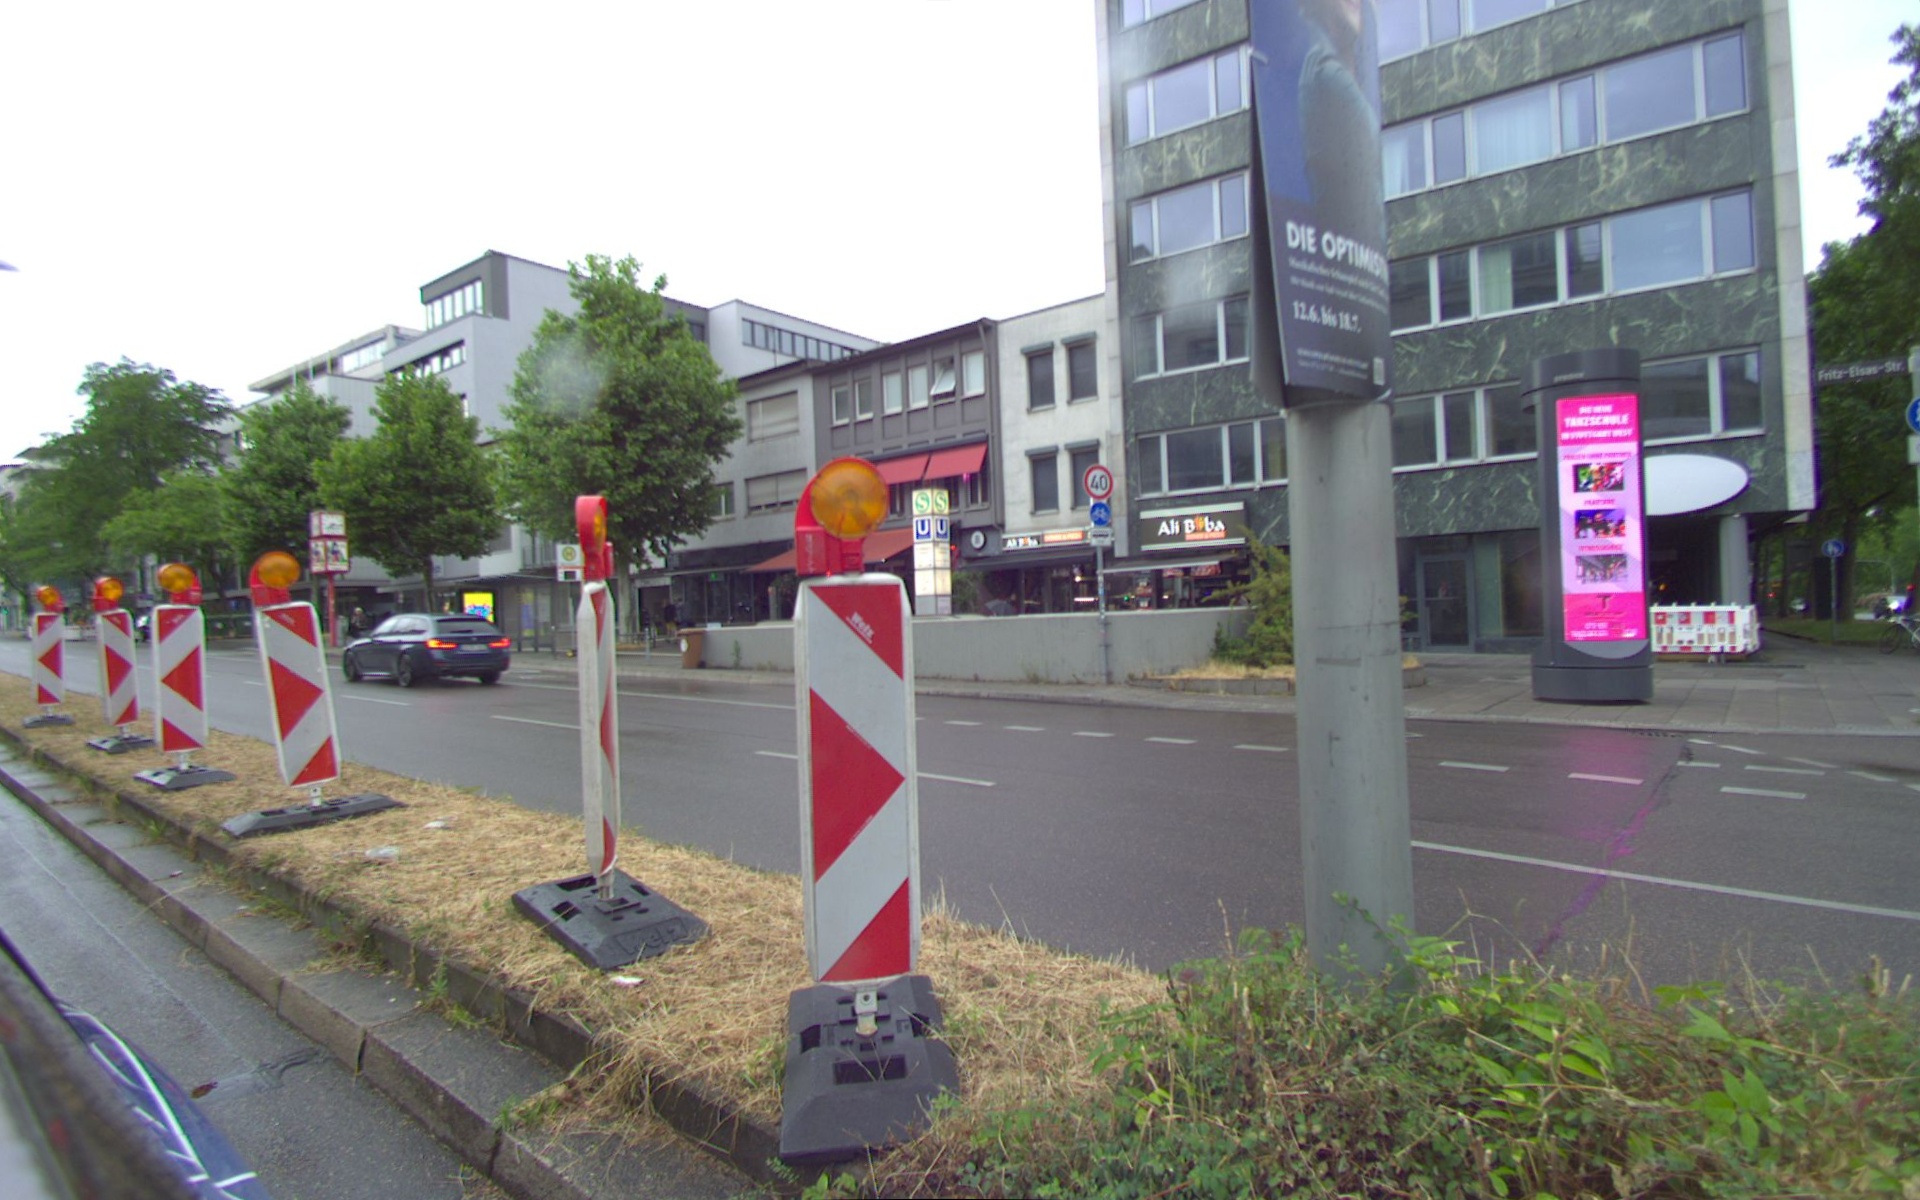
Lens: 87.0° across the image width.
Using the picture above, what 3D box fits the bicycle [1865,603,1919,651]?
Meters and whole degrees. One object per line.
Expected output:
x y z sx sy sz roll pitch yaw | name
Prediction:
21.262 0.590 22.390 1.780 1.060 0.579 -1 -1 37 | bicycle

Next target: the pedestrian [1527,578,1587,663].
12.685 0.418 21.496 1.029 1.747 1.194 -1 0 34 | pedestrian

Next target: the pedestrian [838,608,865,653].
-3.755 1.039 35.018 0.611 1.540 0.660 -2 -1 44 | pedestrian

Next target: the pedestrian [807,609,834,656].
-4.607 1.066 33.439 0.611 1.540 0.660 -2 -1 44 | pedestrian

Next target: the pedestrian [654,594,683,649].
-10.973 0.795 38.109 0.764 2.029 0.768 -1 0 -41 | pedestrian

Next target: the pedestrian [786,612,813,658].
-5.440 1.173 34.310 0.611 1.540 0.660 -2 -1 44 | pedestrian

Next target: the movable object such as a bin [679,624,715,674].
-6.102 1.126 23.453 0.660 1.109 0.501 -1 0 39 | movable object such as a bin

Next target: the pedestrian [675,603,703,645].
-10.369 0.892 38.702 0.764 1.577 0.768 -1 0 -41 | pedestrian

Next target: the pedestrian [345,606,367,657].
-22.160 1.137 37.147 0.567 1.839 0.581 -1 0 -43 | pedestrian

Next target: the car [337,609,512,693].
-11.386 0.999 21.382 4.415 1.566 1.671 -1 0 39 | car

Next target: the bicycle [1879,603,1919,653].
20.766 0.595 21.481 1.780 1.060 0.579 -1 -1 37 | bicycle

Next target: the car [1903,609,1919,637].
50.027 1.178 51.660 1.994 1.381 4.130 -2 -1 33 | car

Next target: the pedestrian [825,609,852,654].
-4.264 1.098 35.511 0.611 1.540 0.660 -2 -1 44 | pedestrian
